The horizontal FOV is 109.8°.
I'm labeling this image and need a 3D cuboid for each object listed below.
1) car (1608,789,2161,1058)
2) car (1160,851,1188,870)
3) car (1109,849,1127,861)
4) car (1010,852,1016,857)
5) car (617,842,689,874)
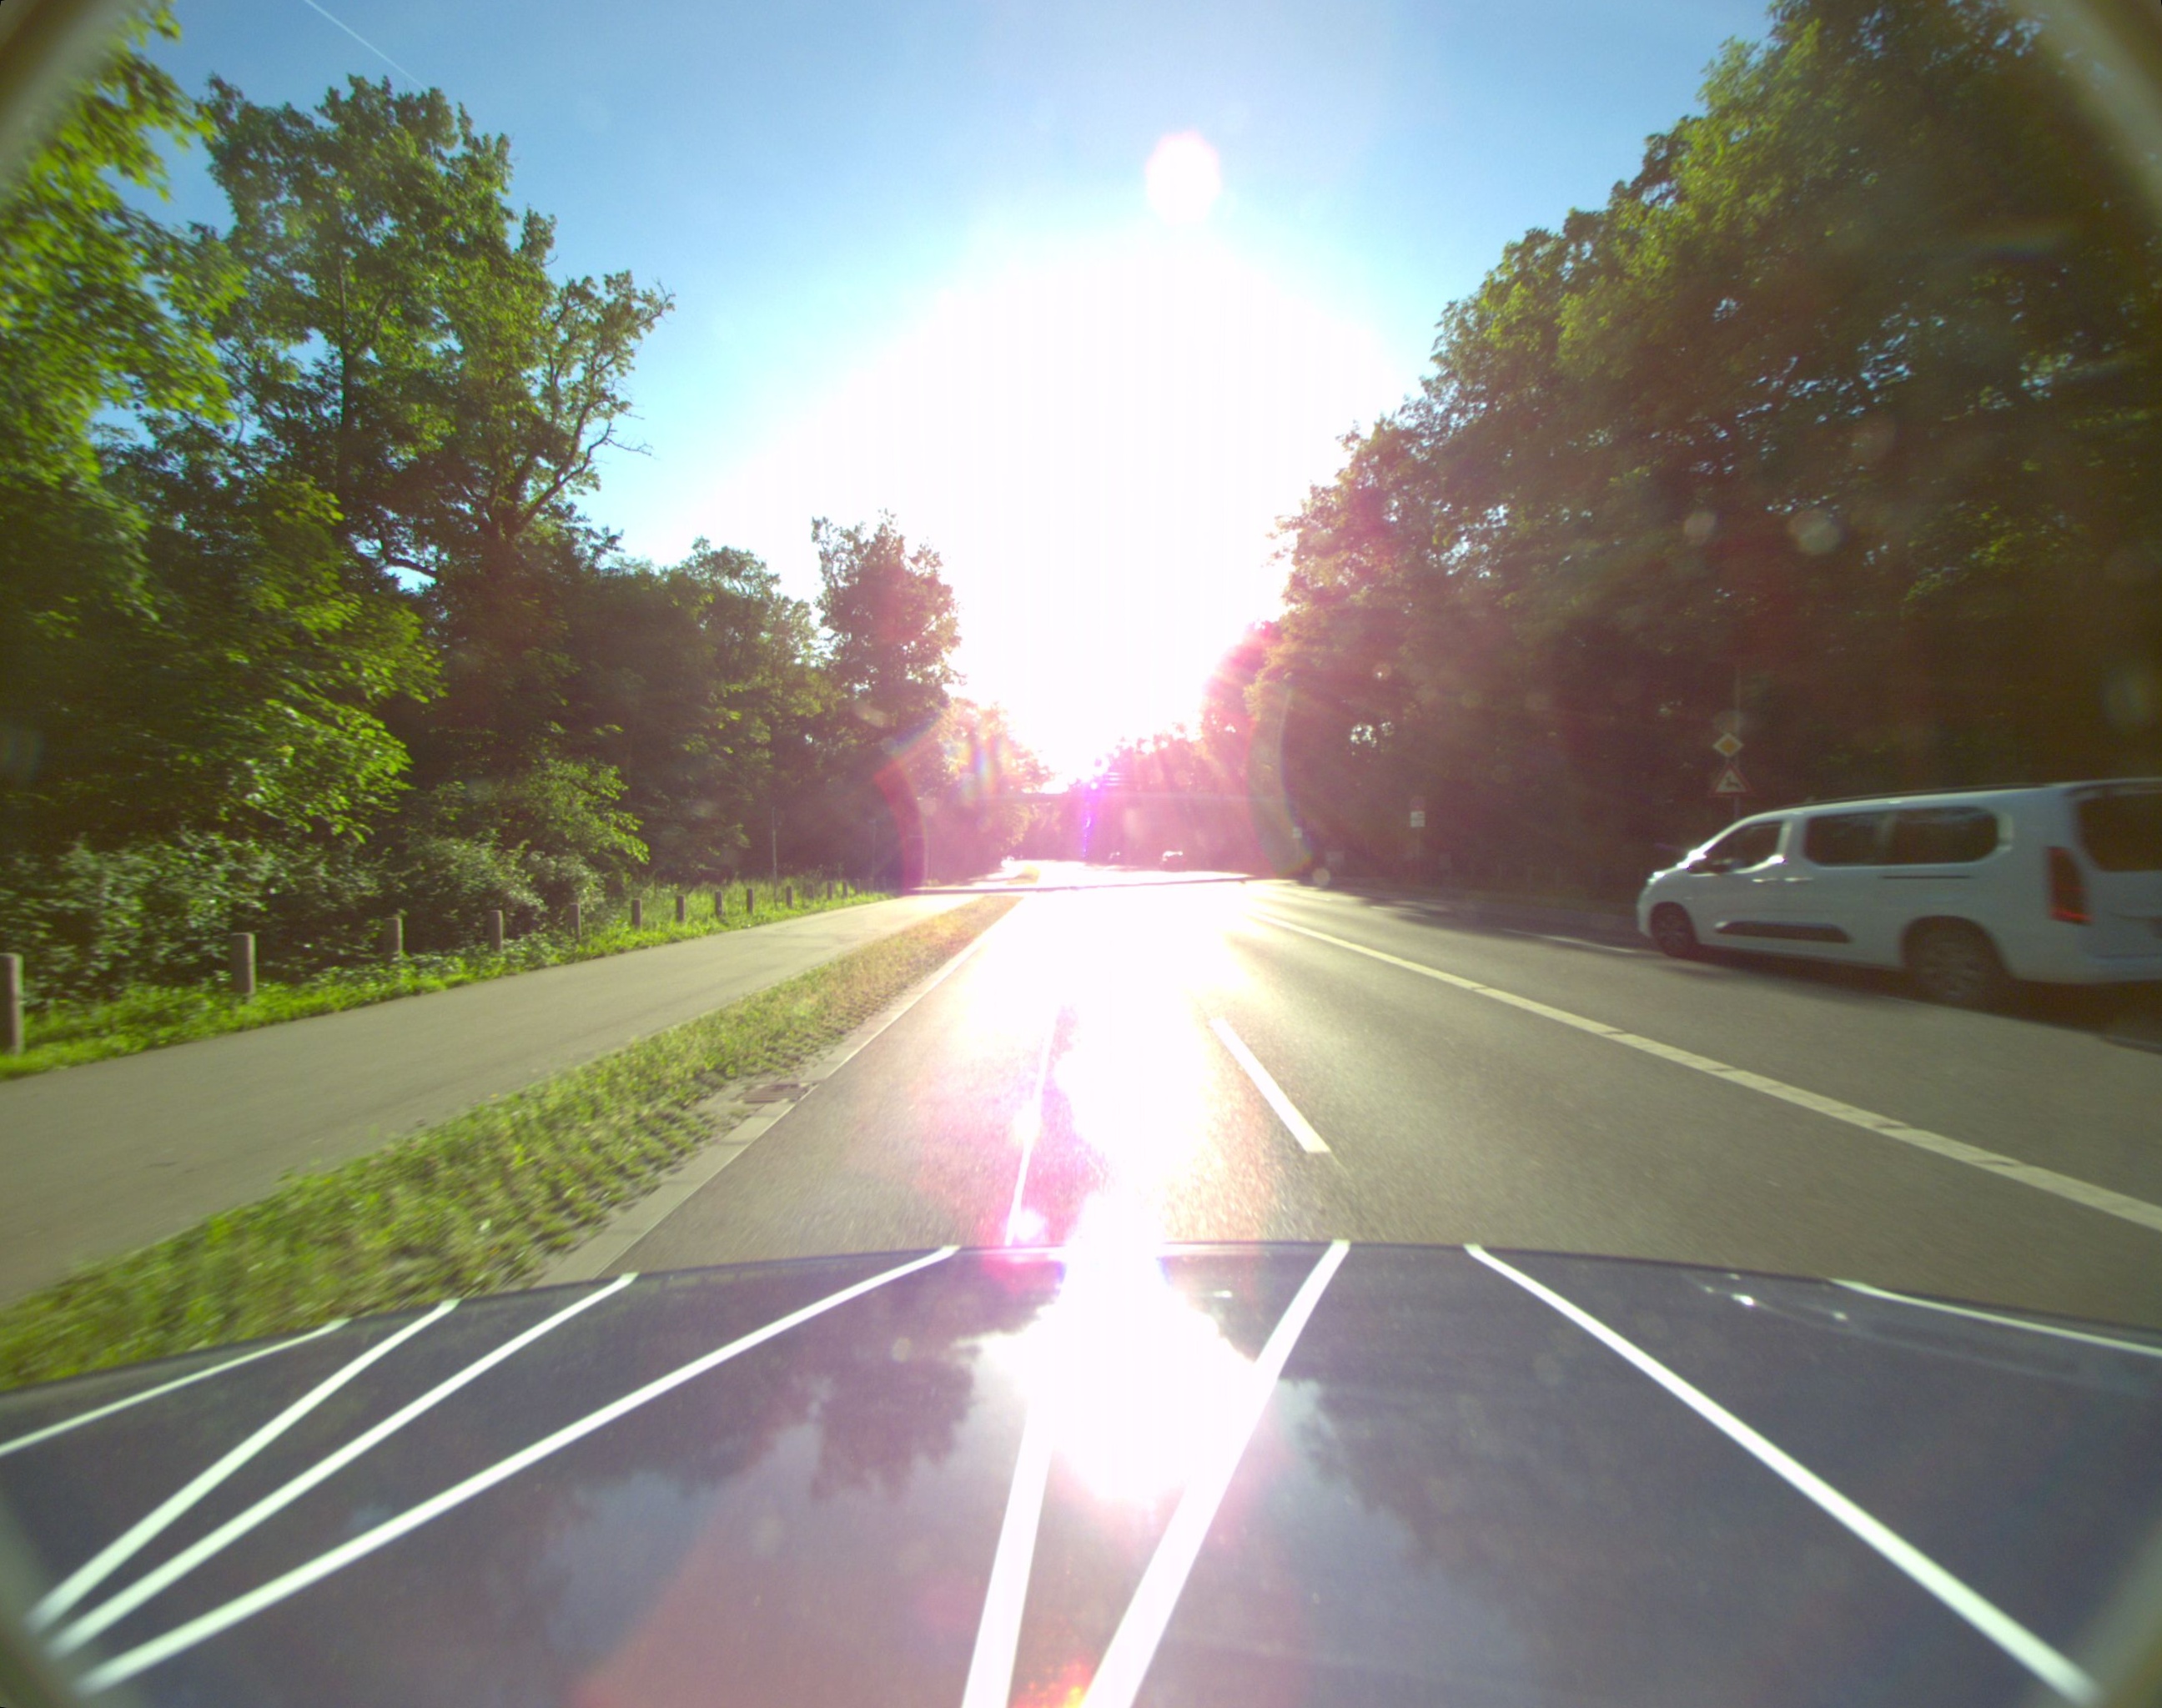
[{"bbox_3d":[8.051,0.424,7.655,2.006,1.815,4.999,-3,0,1],"label":"car"},{"bbox_3d":[7.368,0.484,60.353,1.517,1.457,4.313,0,0,-2],"label":"car"},{"bbox_3d":[5.028,0.080,103.330,1.847,1.539,3.998,-2,0,-5],"label":"car"},{"bbox_3d":[-22.309,0.088,248.296,1.827,1.674,3.997,-1,0,-8],"label":"car"},{"bbox_3d":[-22.123,0.184,39.463,1.742,1.516,3.998,-2,0,-6],"label":"car"}]
